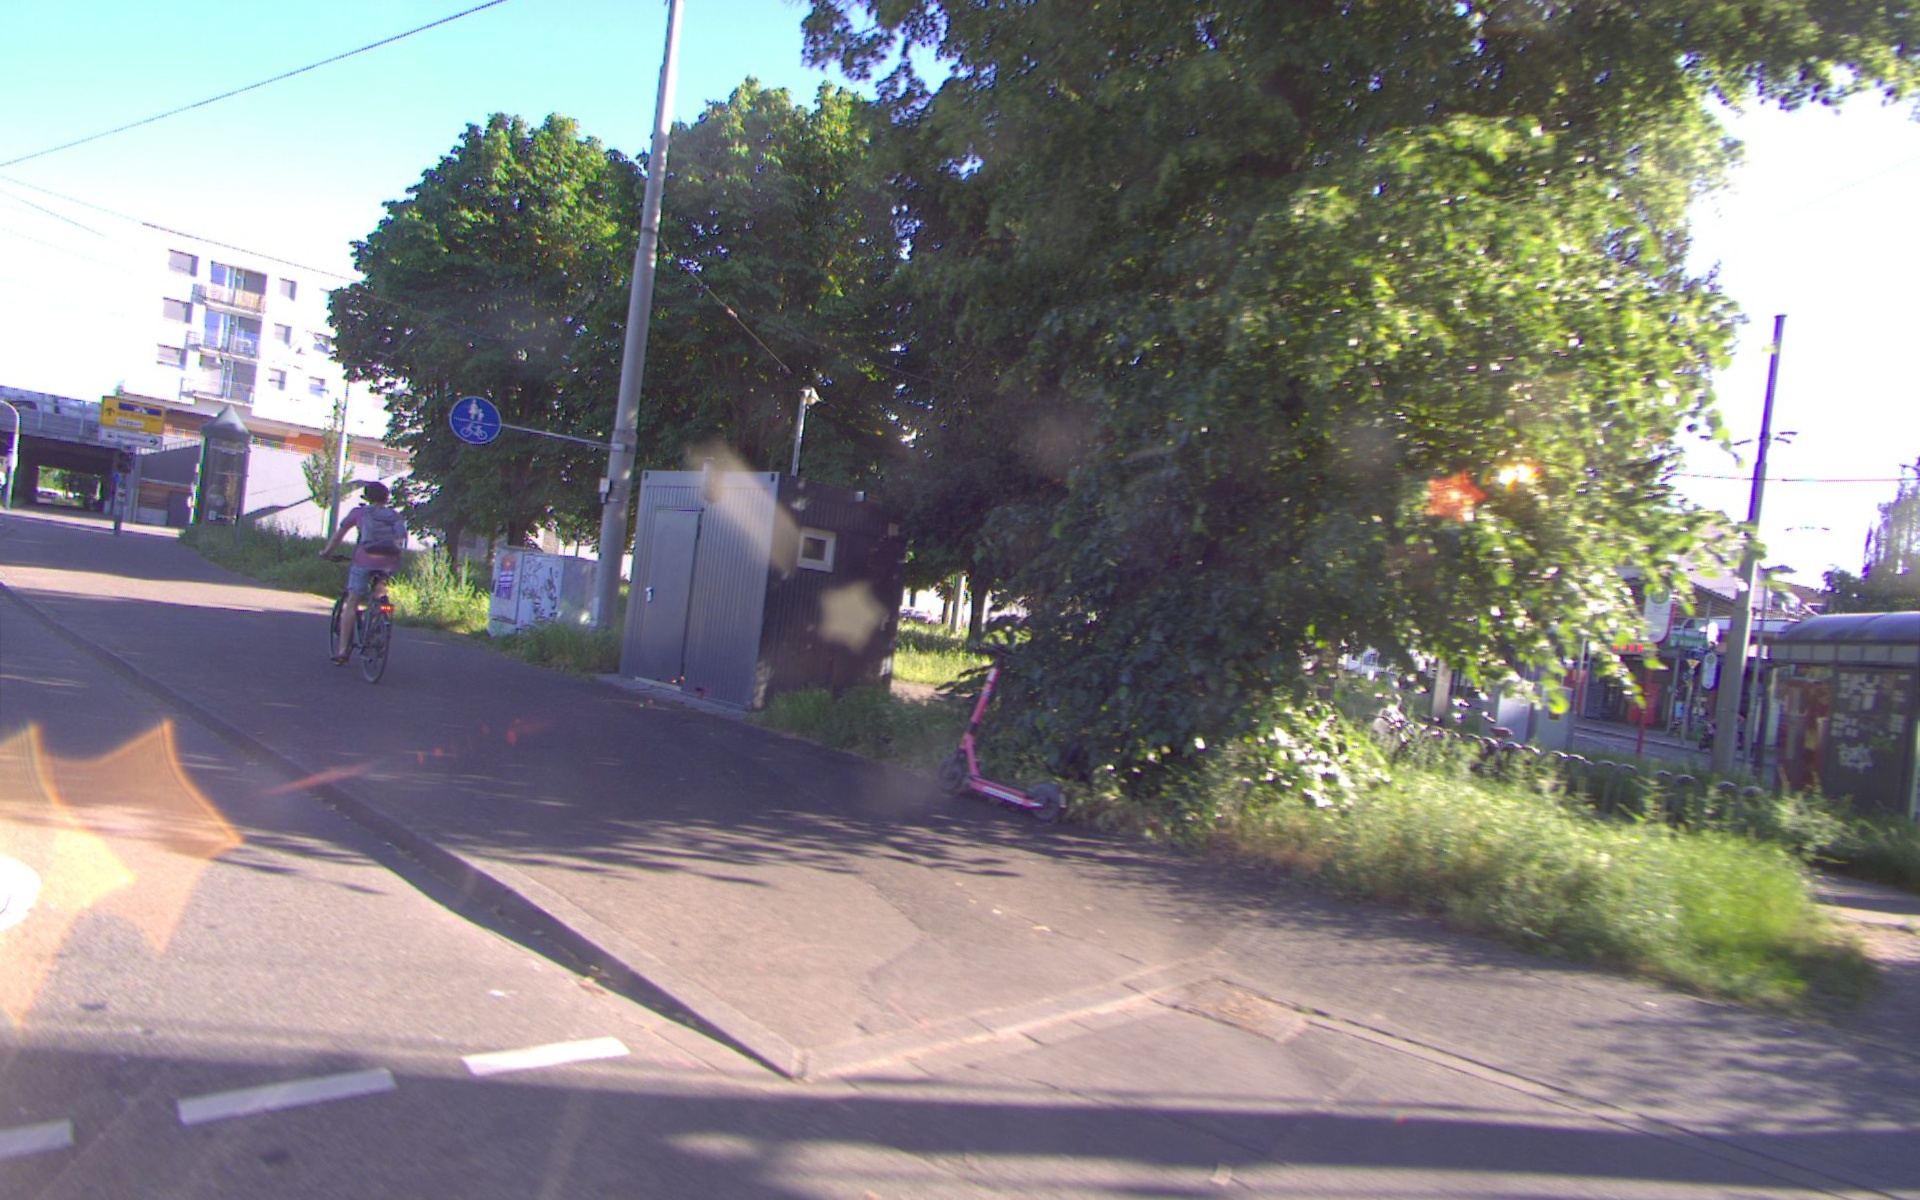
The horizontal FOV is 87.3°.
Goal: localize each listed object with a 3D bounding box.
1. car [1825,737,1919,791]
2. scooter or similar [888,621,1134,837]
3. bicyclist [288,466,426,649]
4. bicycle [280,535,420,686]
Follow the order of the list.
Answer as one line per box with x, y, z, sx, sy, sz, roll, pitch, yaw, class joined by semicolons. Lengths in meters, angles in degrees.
32.926;5.824;35.119;1.660;1.443;4.383;9;-2;3;car
0.342;0.924;7.675;1.804;1.234;0.384;11;4;35;scooter or similar
-5.909;-0.427;9.833;0.809;1.620;1.135;6;2;-43;bicyclist
-6.034;0.068;9.887;0.716;1.207;1.976;6;2;-42;bicycle
